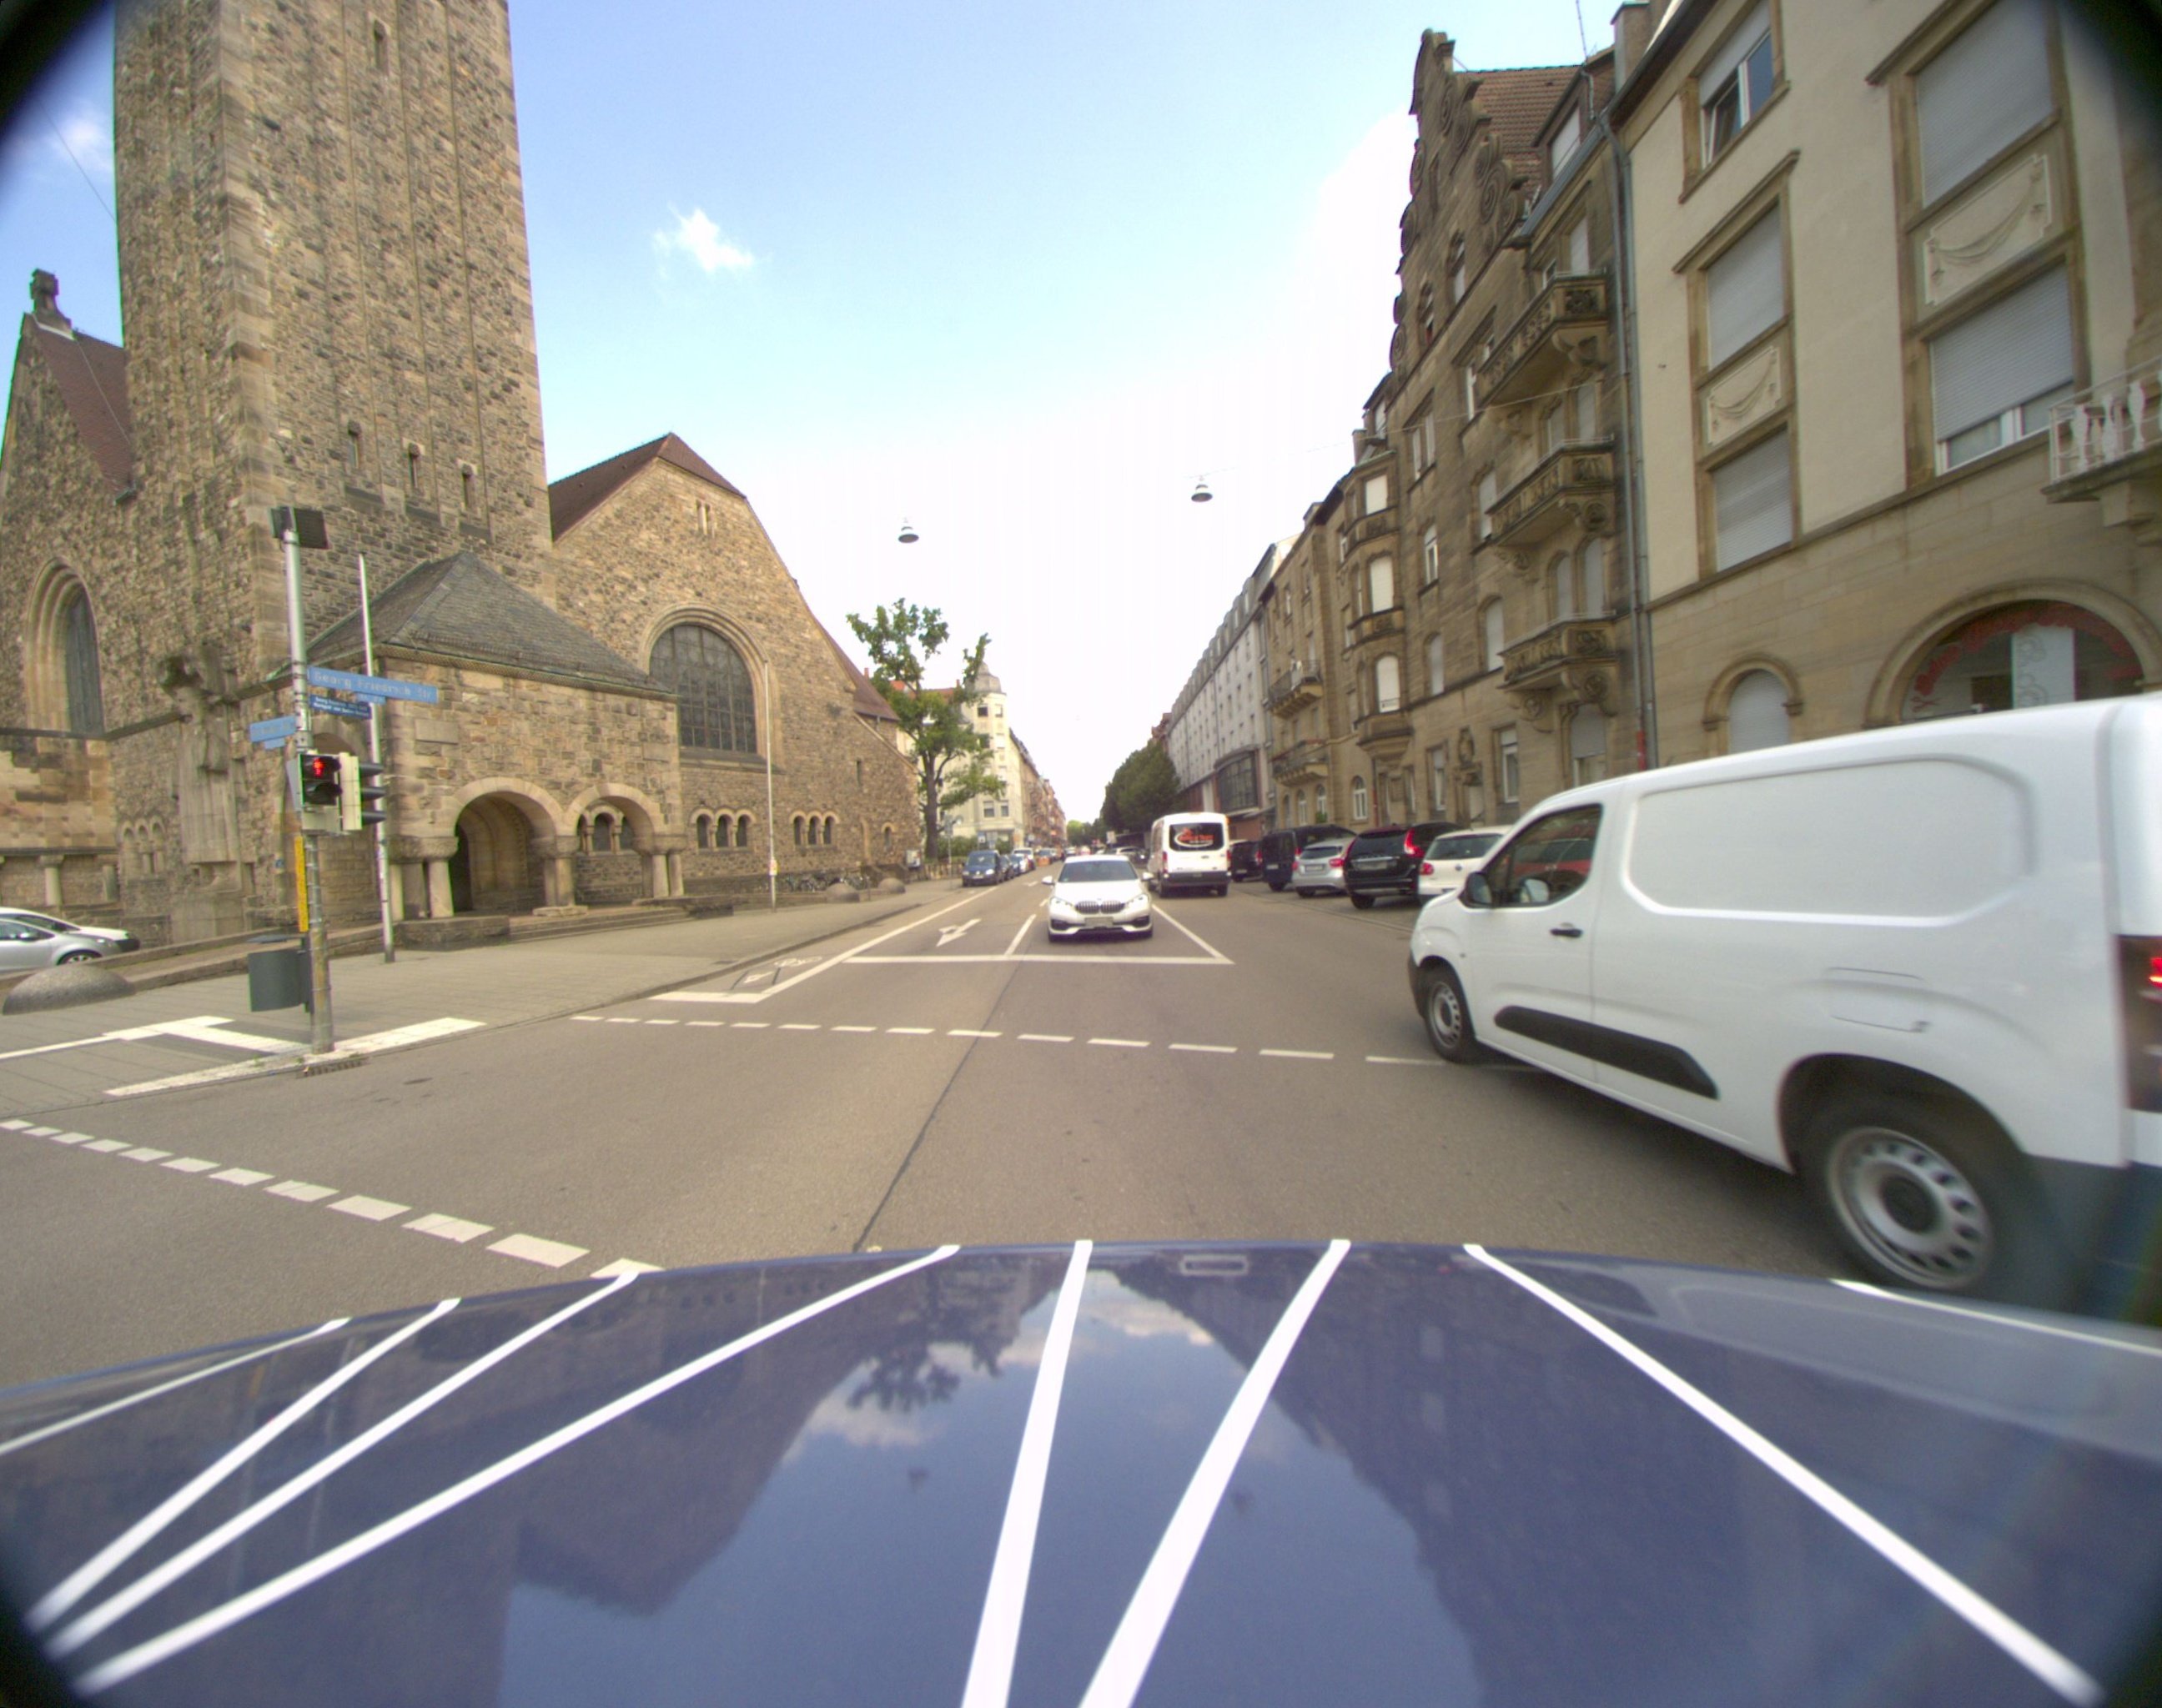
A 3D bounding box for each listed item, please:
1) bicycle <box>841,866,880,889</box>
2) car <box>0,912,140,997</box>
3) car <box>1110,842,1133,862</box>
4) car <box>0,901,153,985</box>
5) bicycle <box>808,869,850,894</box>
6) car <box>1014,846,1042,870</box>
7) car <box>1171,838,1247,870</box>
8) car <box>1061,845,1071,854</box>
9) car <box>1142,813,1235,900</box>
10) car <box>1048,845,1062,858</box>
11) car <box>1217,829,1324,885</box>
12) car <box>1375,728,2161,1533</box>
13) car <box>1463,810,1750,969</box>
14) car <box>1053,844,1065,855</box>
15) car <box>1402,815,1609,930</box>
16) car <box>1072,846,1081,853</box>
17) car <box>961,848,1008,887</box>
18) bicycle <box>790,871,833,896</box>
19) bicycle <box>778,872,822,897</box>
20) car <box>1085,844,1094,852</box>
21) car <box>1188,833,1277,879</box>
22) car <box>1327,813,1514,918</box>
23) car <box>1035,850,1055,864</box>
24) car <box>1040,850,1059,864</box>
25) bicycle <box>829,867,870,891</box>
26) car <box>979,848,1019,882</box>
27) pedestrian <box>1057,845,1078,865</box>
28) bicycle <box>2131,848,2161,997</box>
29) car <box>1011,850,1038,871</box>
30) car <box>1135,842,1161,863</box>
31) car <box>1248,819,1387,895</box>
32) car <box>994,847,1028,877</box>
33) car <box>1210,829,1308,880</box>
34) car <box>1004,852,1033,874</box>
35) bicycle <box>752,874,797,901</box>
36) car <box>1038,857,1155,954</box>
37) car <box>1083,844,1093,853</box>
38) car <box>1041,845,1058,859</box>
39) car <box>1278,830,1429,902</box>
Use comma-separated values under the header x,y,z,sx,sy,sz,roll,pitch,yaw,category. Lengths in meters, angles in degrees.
x,y,z,sx,sy,sz,roll,pitch,yaw,category
-11.161,1.202,38.475,1.935,1.106,0.587,0,3,22,bicycle
-24.064,2.309,16.814,1.815,1.668,3.643,-5,-1,23,car
3.714,-0.180,70.513,1.891,1.641,3.890,-4,1,2,car
-26.887,2.306,18.947,1.996,1.842,4.312,-5,-1,25,car
-12.056,1.301,36.290,1.935,1.106,0.587,0,3,22,bicycle
-4.527,0.294,65.593,1.844,1.927,4.186,-4,1,2,car
6.882,-0.003,40.550,3.961,1.465,1.727,-4,1,-39,car
-3.275,-1.044,164.418,1.809,1.756,4.186,-4,1,2,car
3.307,0.099,24.708,2.081,2.430,5.945,-2,0,0,car
-3.789,-0.376,111.488,1.809,1.756,4.186,-4,1,2,car
7.214,0.083,28.721,3.959,1.576,1.727,-8,2,-38,car
3.209,0.582,3.622,1.817,1.765,4.283,-3,0,-1,car
6.961,0.363,9.931,4.005,1.448,1.808,-7,1,-37,car
-4.050,-0.924,140.618,1.809,1.901,4.186,-4,1,2,car
7.429,0.278,13.155,3.960,1.448,1.727,-7,0,-40,car
-1.104,-1.077,189.896,1.809,1.654,4.186,-4,1,2,car
-4.920,0.656,39.400,1.683,1.781,4.145,-4,1,2,car
-12.581,1.351,35.431,1.935,1.106,0.587,0,3,22,bicycle
-12.865,1.381,34.773,1.935,1.106,0.587,0,3,22,bicycle
1.782,-1.276,158.160,1.809,1.590,4.186,-4,1,2,car
6.987,0.063,34.905,3.960,1.576,1.727,-7,0,-38,car
7.143,0.206,15.849,3.960,1.680,1.799,-7,0,-38,car
-3.894,0.289,83.687,1.809,1.360,4.186,-4,1,2,car
-3.670,0.333,89.252,1.809,1.360,4.186,-4,1,2,car
-11.507,1.238,37.748,1.935,1.106,0.587,0,3,22,bicycle
-4.731,0.615,44.557,1.683,1.781,4.000,-4,1,2,car
-1.261,0.136,70.975,1.316,1.747,1.370,-4,1,-35,pedestrian
8.386,0.428,5.257,1.483,1.046,0.462,-6,1,2,bicycle
-4.523,0.523,61.101,1.683,1.488,3.890,-4,1,2,car
5.515,-0.131,62.838,1.891,1.556,3.890,-4,1,2,car
7.165,0.065,22.919,3.959,1.857,1.727,-6,1,-33,car
-4.645,0.501,50.877,1.683,1.781,4.000,-4,1,2,car
7.417,0.007,31.583,3.959,1.576,1.727,-9,2,-38,car
-4.539,0.621,55.631,1.683,1.438,3.798,-4,1,2,car
-13.440,1.446,33.304,1.935,1.106,0.587,0,3,22,bicycle
0.314,0.830,14.341,1.826,1.440,4.386,-2,1,2,car
1.442,-1.114,150.903,1.809,1.590,4.186,-4,1,2,car
-4.065,-0.265,97.815,1.809,1.756,4.186,-4,1,2,car
7.233,0.290,20.044,3.960,1.421,1.728,-6,0,-37,car
